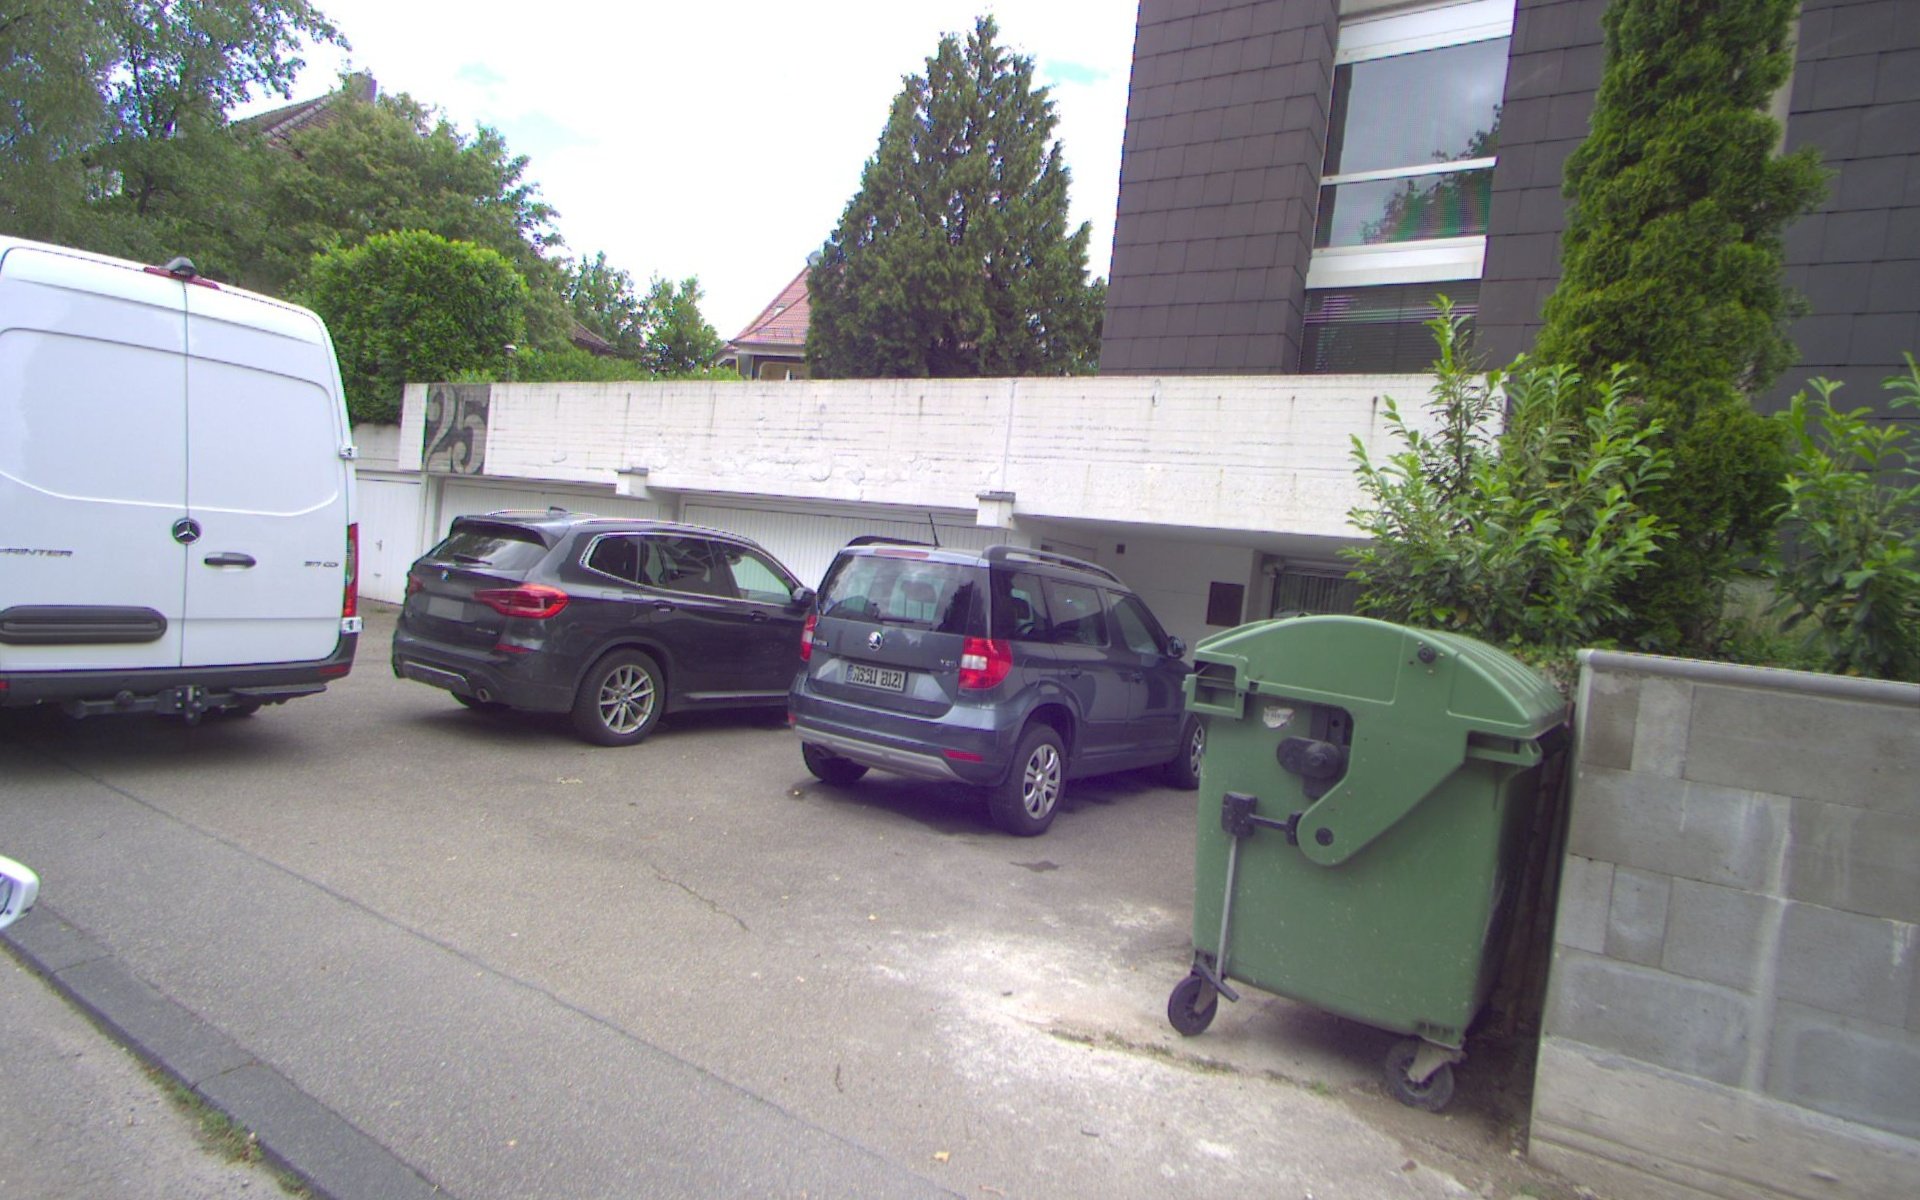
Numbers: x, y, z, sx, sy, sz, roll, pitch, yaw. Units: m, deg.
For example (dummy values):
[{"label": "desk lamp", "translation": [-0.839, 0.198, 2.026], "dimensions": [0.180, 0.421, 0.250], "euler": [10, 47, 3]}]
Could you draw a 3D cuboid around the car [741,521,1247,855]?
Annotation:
[{"label": "car", "translation": [0.501, 0.512, 7.365], "dimensions": [1.801, 1.674, 3.796], "euler": [7, 2, 35]}]

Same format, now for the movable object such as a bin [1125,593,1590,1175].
[{"label": "movable object such as a bin", "translation": [1.436, 0.783, 3.538], "dimensions": [1.161, 1.470, 1.300], "euler": [7, 2, 31]}]

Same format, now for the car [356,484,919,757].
[{"label": "car", "translation": [-2.421, 0.163, 8.695], "dimensions": [1.800, 1.674, 4.394], "euler": [7, 2, 33]}]

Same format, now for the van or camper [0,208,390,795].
[{"label": "van or camper", "translation": [-6.653, -0.722, 6.825], "dimensions": [6.252, 2.664, 1.963], "euler": [7, 4, 31]}]
